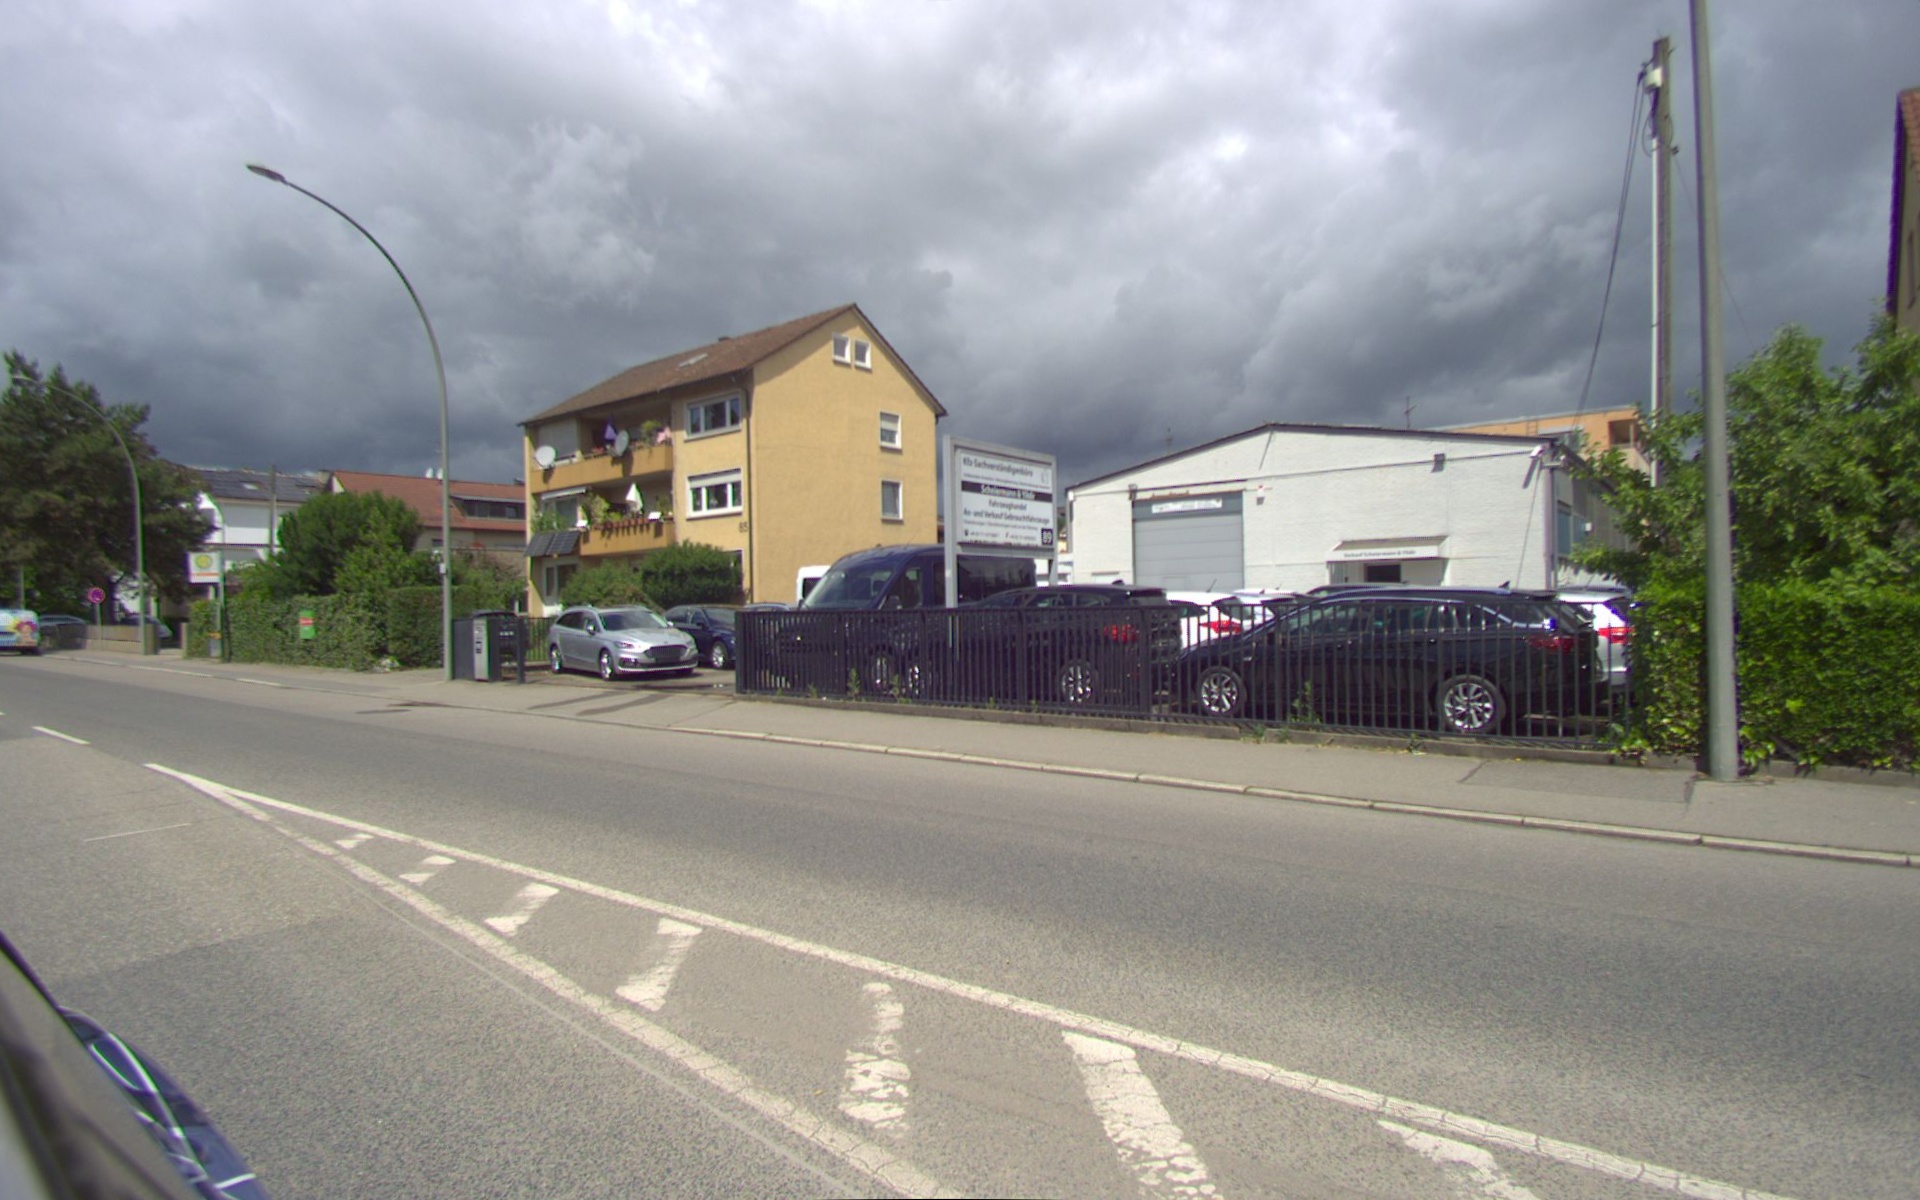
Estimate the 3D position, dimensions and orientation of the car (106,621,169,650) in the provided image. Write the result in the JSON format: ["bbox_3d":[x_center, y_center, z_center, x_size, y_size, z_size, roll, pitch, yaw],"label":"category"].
[{"bbox_3d":[-45.736,1.975,56.269,4.079,1.555,1.751,-1,-1,36],"label":"car"}]

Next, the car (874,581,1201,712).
[{"bbox_3d":[1.036,0.610,14.548,4.277,1.607,2.013,-1,-1,37],"label":"car"}]

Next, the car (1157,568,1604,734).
[{"bbox_3d":[4.643,0.509,11.406,4.260,1.518,2.133,-1,-1,37],"label":"car"}]

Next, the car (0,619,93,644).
[{"bbox_3d":[-60.757,2.053,66.872,1.970,1.563,4.960,-1,0,38],"label":"car"}]

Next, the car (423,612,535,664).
[{"bbox_3d":[-14.396,1.097,30.170,1.823,1.437,4.335,0,-1,-43],"label":"car"}]

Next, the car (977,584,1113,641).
[{"bbox_3d":[2.820,0.445,34.132,4.328,1.805,1.826,-1,-1,41],"label":"car"}]

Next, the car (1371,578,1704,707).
[{"bbox_3d":[8.286,0.568,14.675,3.994,1.630,1.759,-1,-1,38],"label":"car"}]

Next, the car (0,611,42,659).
[{"bbox_3d":[-39.615,1.467,41.782,4.891,1.868,1.815,-2,-5,40],"label":"car"}]

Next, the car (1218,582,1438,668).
[{"bbox_3d":[7.592,0.512,21.014,3.990,1.630,1.761,-1,-1,35],"label":"car"}]

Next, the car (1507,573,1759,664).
[{"bbox_3d":[13.215,0.367,20.081,3.990,1.630,1.761,-1,-1,35],"label":"car"}]

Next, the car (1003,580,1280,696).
[{"bbox_3d":[2.839,0.574,16.125,3.990,1.630,1.761,-1,-1,35],"label":"car"}]

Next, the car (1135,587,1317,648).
[{"bbox_3d":[8.053,0.544,30.905,4.998,1.726,2.030,-1,-1,37],"label":"car"}]

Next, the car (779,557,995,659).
[{"bbox_3d":[-2.127,0.281,27.882,6.134,2.514,2.386,-1,-3,43],"label":"car"}]

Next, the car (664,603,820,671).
[{"bbox_3d":[-5.214,0.825,23.824,1.821,1.437,4.338,0,-1,-39],"label":"car"}]

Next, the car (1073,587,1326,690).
[{"bbox_3d":[4.176,0.640,17.881,3.990,1.630,1.761,-1,-1,35],"label":"car"}]

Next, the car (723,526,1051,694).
[{"bbox_3d":[-1.074,0.176,18.228,2.475,2.515,5.977,-1,-1,39],"label":"car"}]

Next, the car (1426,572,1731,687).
[{"bbox_3d":[9.833,0.450,16.248,3.994,1.630,1.759,-1,-1,38],"label":"car"}]

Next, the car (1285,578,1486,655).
[{"bbox_3d":[9.728,0.386,23.250,3.990,1.630,1.761,-1,-1,35],"label":"car"}]

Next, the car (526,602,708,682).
[{"bbox_3d":[-7.584,0.843,21.976,1.968,1.497,5.349,0,-1,-40],"label":"car"}]

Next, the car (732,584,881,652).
[{"bbox_3d":[-4.008,0.451,25.864,1.821,1.589,4.338,0,-1,-39],"label":"car"}]

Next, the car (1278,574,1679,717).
[{"bbox_3d":[6.538,0.520,12.919,4.260,1.518,2.134,-1,-1,37],"label":"car"}]

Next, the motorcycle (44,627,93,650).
[{"bbox_3d":[-46.808,2.019,53.135,1.845,1.174,0.827,0,-1,-34],"label":"motorcycle"}]

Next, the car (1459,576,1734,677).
[{"bbox_3d":[11.301,0.467,18.171,3.990,1.630,1.761,-1,-1,35],"label":"car"}]

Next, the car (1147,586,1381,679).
[{"bbox_3d":[5.810,0.606,19.512,3.990,1.630,1.761,-1,-1,35],"label":"car"}]
